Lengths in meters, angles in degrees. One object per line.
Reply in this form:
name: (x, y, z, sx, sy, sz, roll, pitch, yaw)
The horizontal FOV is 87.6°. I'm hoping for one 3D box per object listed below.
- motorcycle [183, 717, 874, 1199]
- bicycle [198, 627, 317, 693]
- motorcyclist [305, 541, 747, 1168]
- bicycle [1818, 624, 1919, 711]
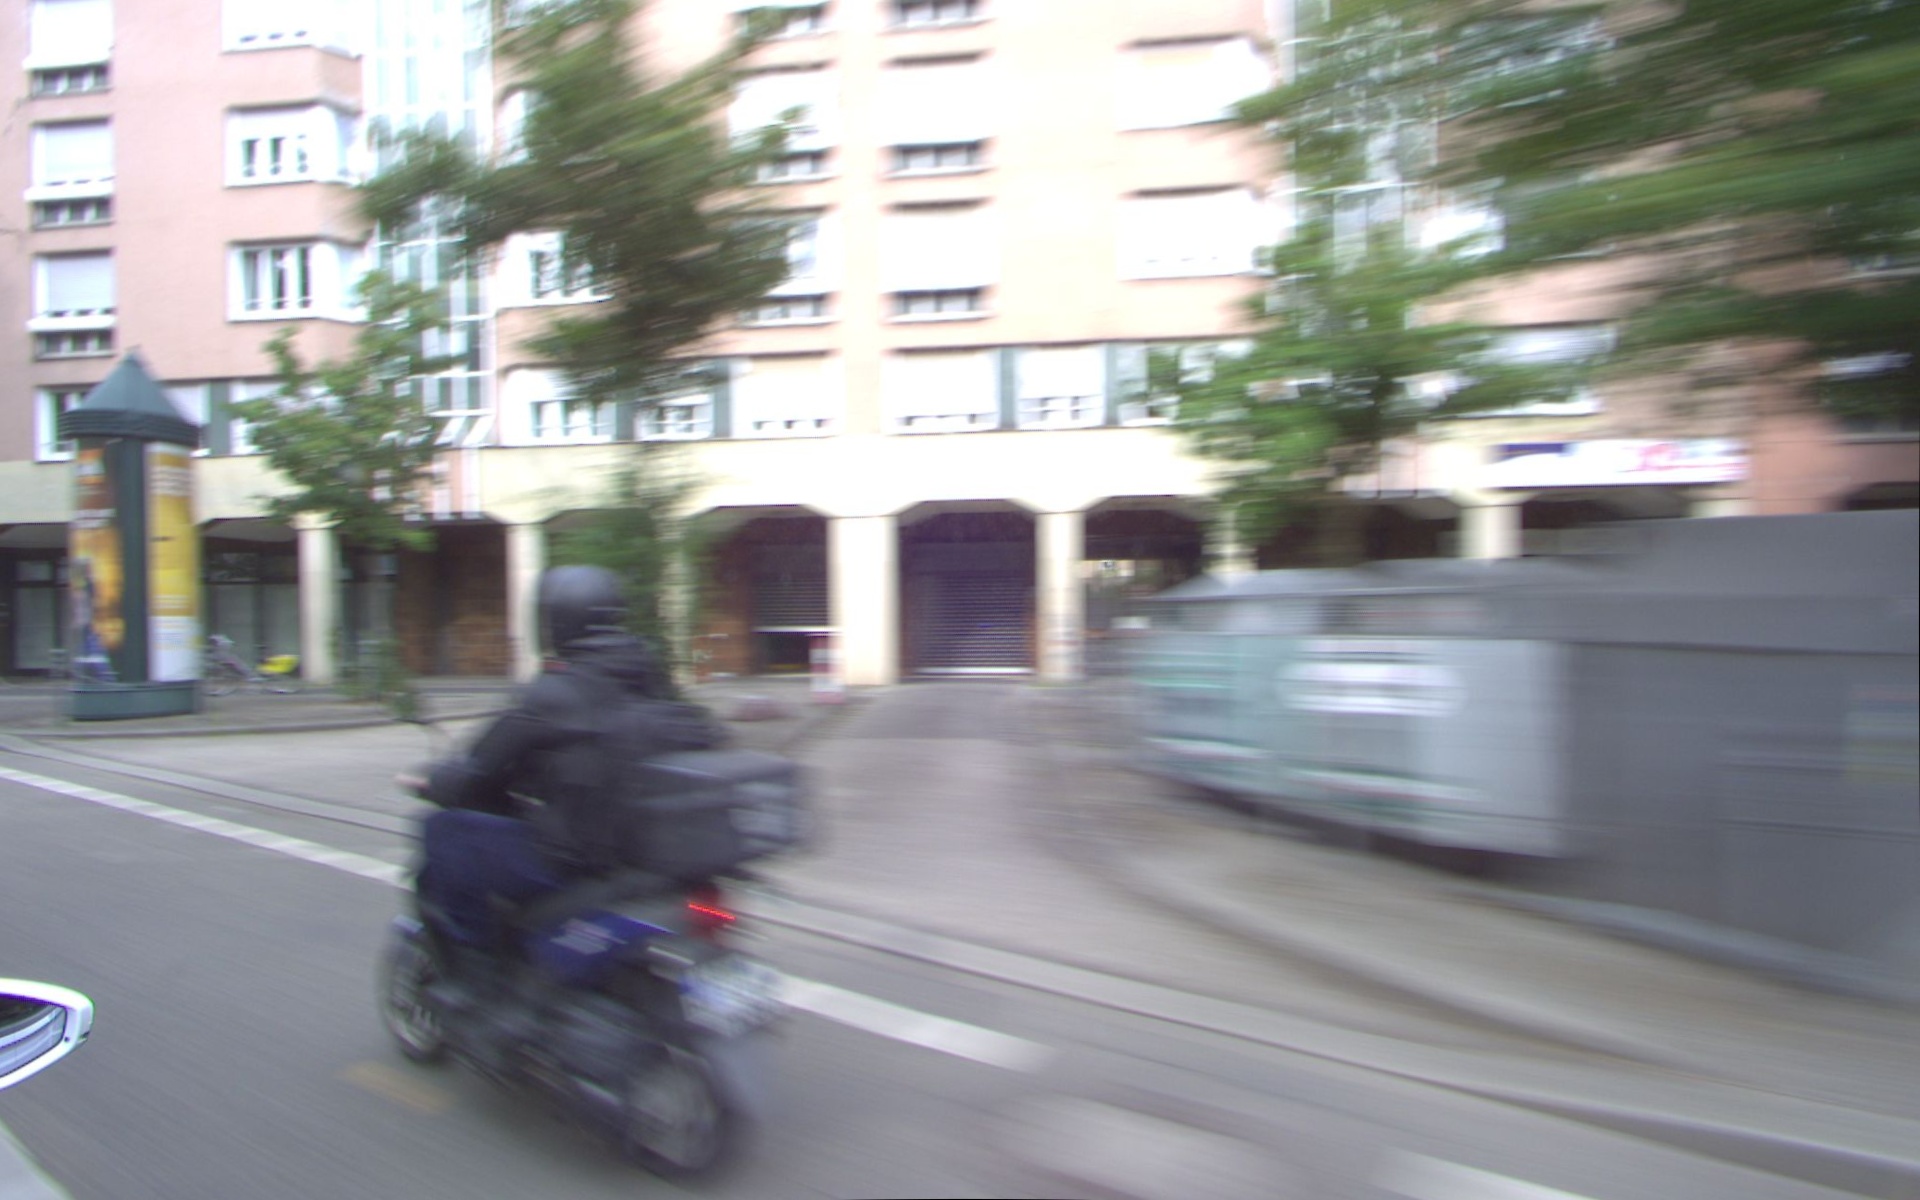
motorcycle: (-1.390, 1.000, 3.085, 2.174, 1.122, 0.767, -1, 0, 28)
bicycle: (-12.855, 1.081, 18.370, 1.636, 1.143, 0.669, -1, 0, -19)
motorcyclist: (-1.290, 0.635, 3.030, 1.002, 1.539, 0.759, -1, 0, 28)
bicycle: (12.791, 0.898, 13.435, 0.586, 1.127, 1.961, 0, -1, -15)
